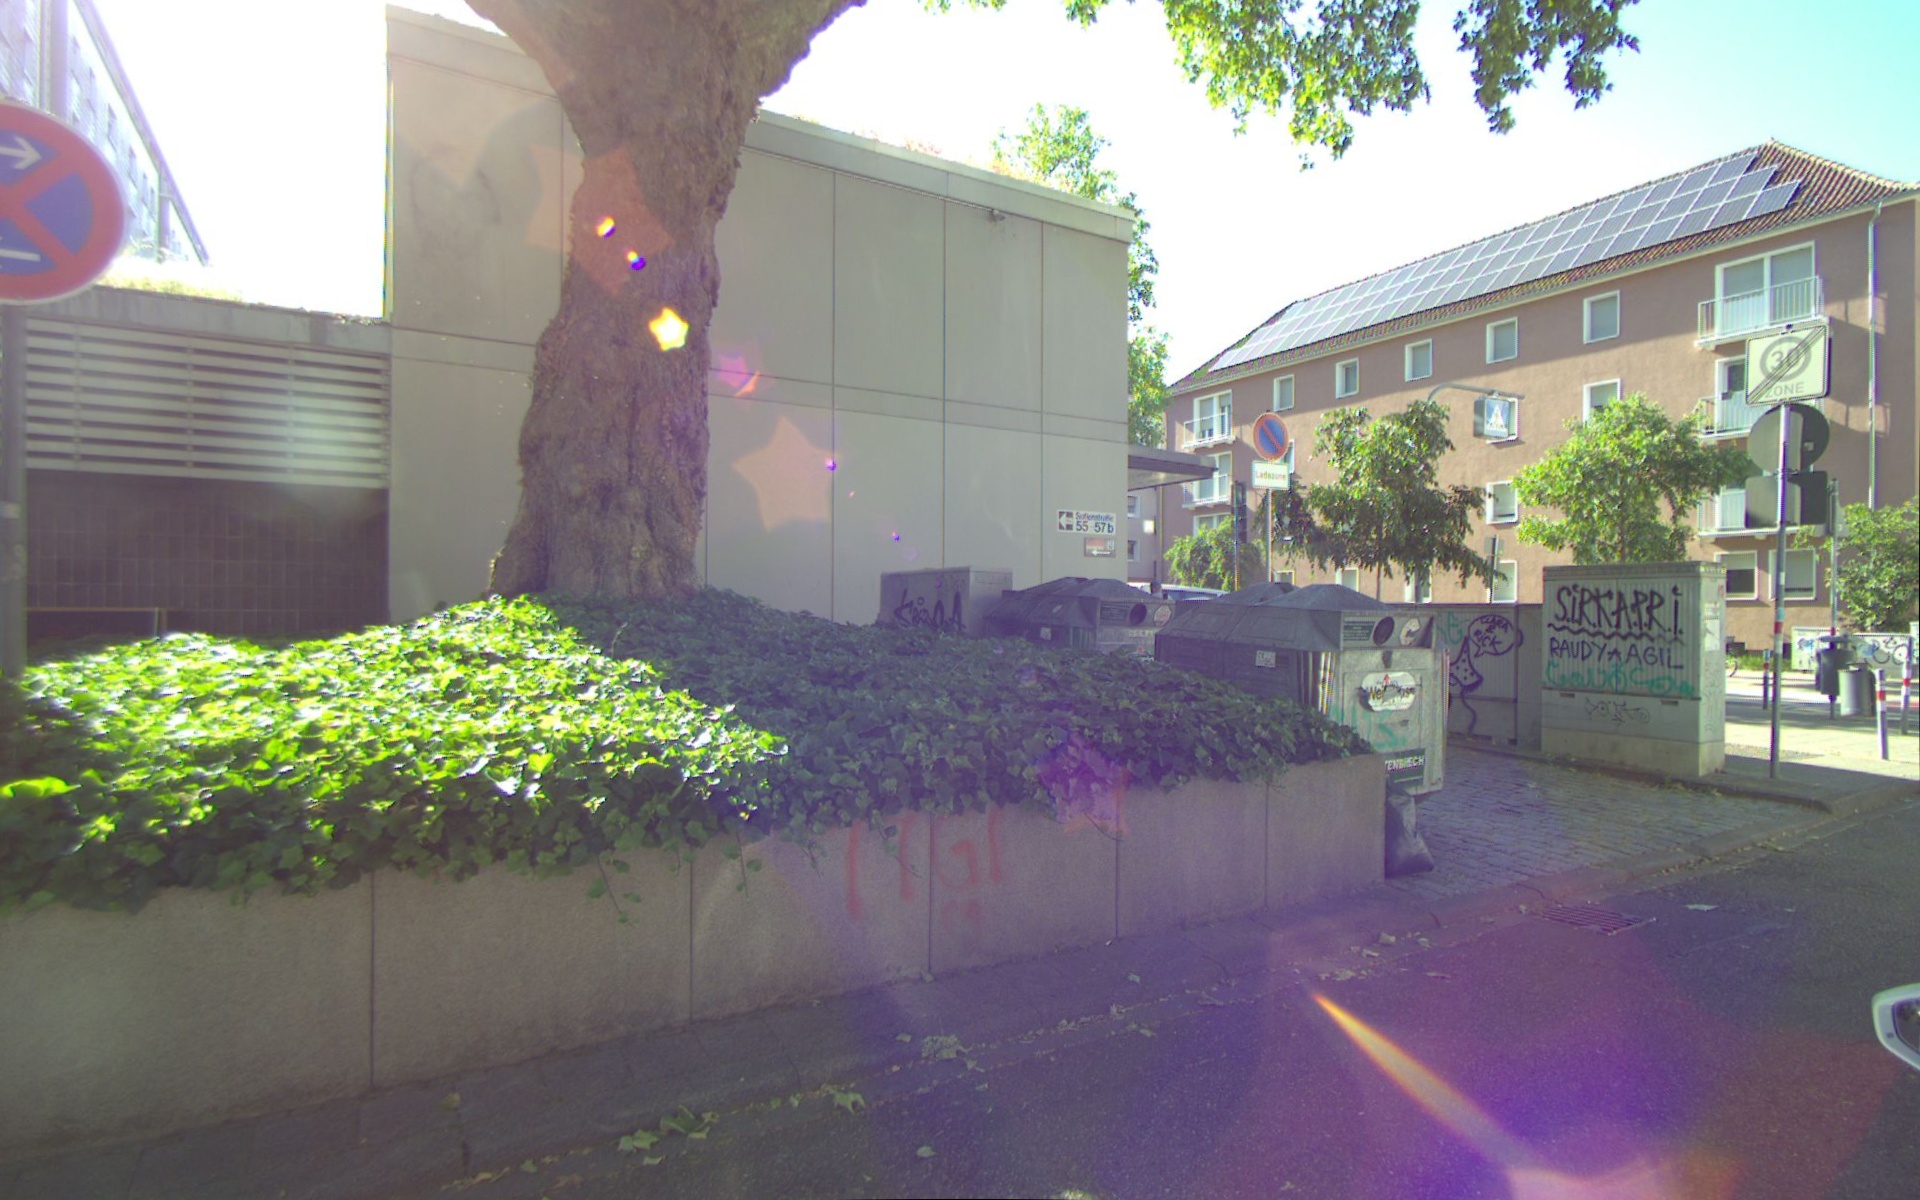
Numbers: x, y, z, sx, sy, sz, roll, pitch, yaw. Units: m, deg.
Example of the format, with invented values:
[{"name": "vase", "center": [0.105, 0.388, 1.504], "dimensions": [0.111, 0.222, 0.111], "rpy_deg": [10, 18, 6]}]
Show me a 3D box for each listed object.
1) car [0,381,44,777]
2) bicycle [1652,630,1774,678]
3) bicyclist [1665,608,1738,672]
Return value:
[{"name": "car", "center": [-5.995, -0.042, 3.815], "dimensions": [2.119, 2.589, 6.709], "rpy_deg": [2, 2, -29]}, {"name": "bicycle", "center": [18.311, 1.292, 24.523], "dimensions": [0.777, 1.094, 2.425], "rpy_deg": [1, -1, -15]}, {"name": "bicyclist", "center": [18.235, 0.975, 24.728], "dimensions": [0.826, 1.536, 1.196], "rpy_deg": [1, -1, -15]}]
